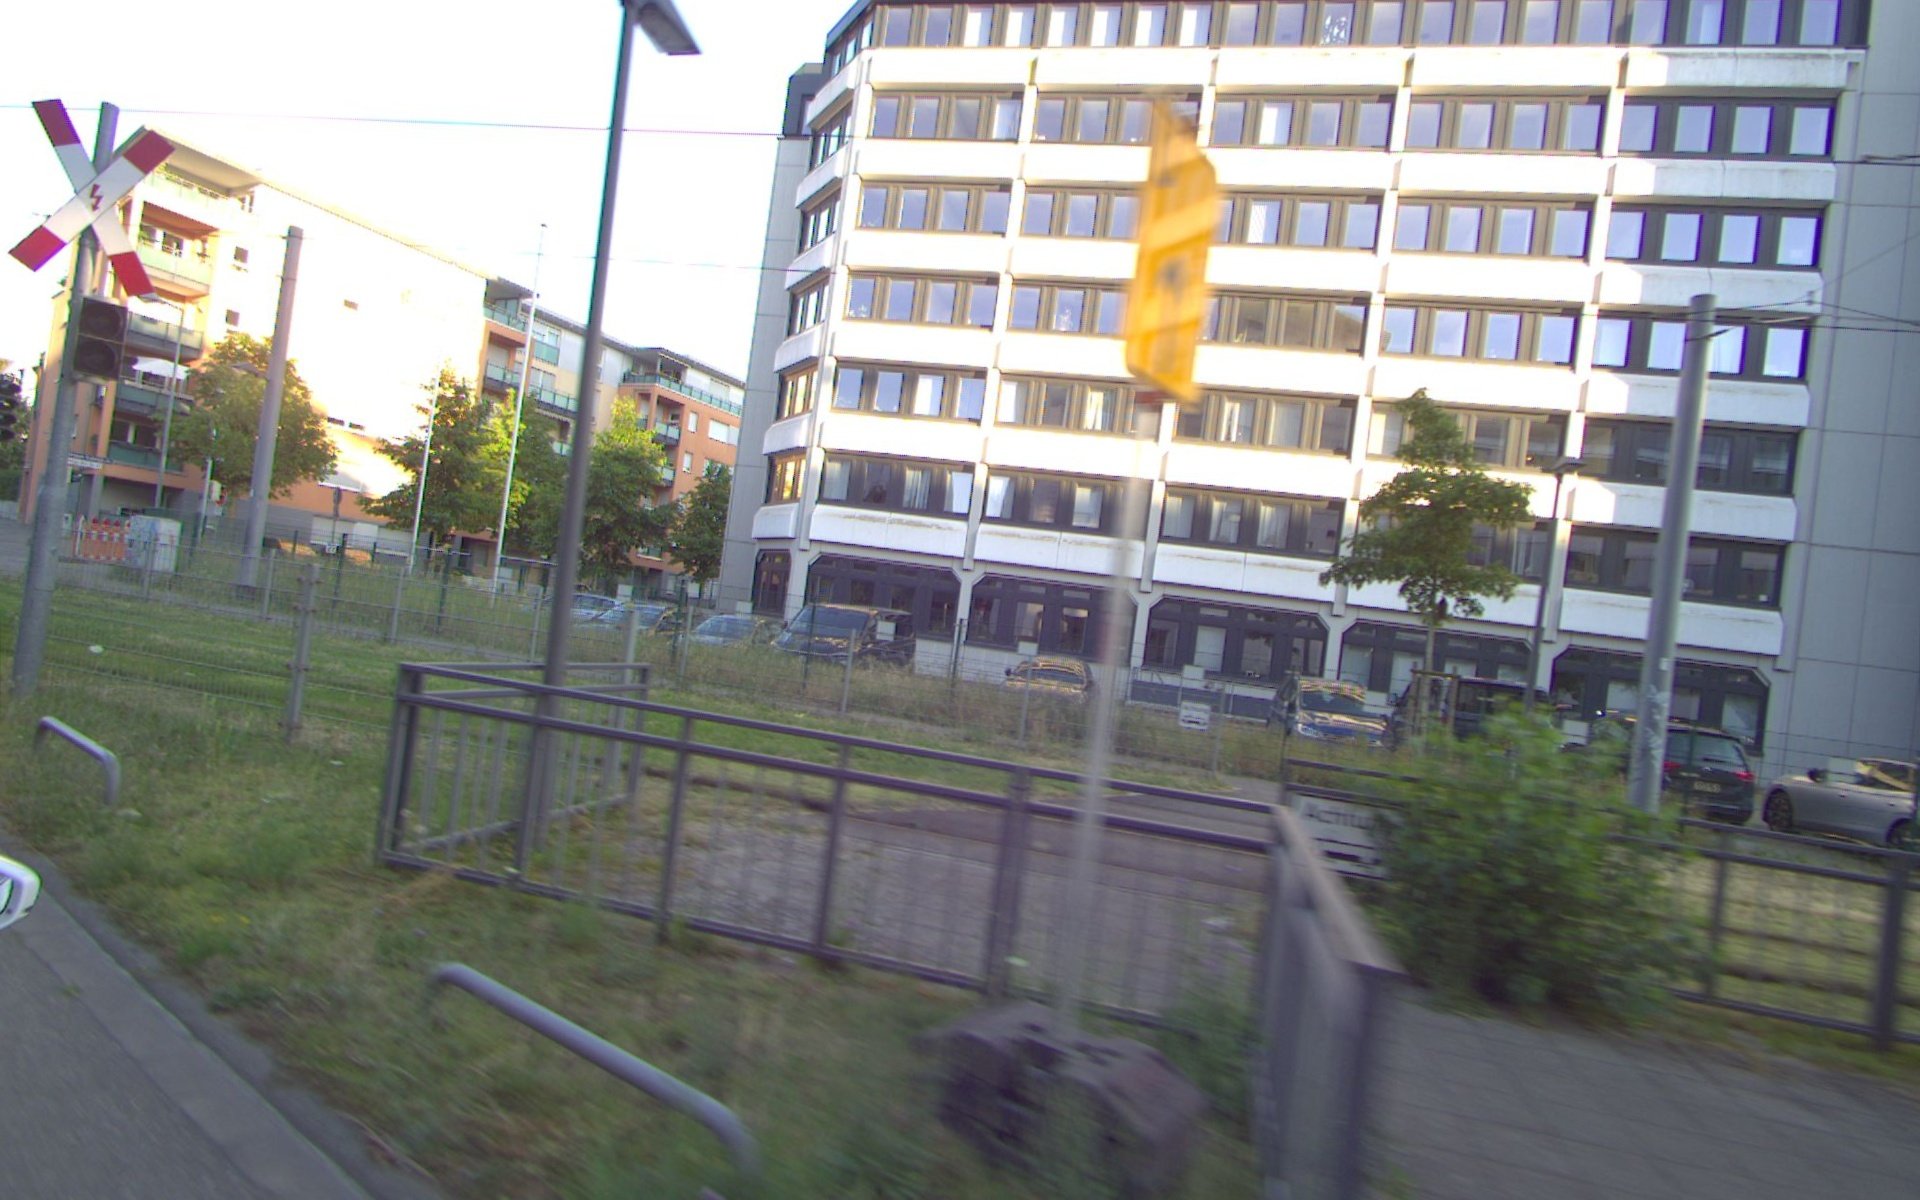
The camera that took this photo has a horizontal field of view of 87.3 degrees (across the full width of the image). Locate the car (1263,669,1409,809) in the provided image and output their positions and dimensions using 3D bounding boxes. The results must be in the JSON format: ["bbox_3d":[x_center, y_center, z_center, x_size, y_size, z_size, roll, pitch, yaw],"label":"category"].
[{"bbox_3d":[6.888,2.463,18.848,1.962,2.036,4.005,7,-2,15],"label":"car"}]

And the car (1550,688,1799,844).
[{"bbox_3d":[12.085,2.698,17.414,1.962,2.036,4.280,7,-2,15],"label":"car"}]

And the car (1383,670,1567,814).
[{"bbox_3d":[9.105,2.422,18.176,1.962,2.036,4.005,7,-2,15],"label":"car"}]

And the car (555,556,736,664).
[{"bbox_3d":[-7.294,0.323,23.810,1.962,2.036,4.004,7,-2,17],"label":"car"}]

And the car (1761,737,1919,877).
[{"bbox_3d":[13.983,3.066,14.716,1.783,1.611,4.412,7,-2,15],"label":"car"}]

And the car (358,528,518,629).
[{"bbox_3d":[-13.284,-0.563,25.526,3.941,2.037,1.994,6,-2,39],"label":"car"}]

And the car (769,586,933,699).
[{"bbox_3d":[-2.284,1.001,22.287,1.962,2.036,4.004,7,-2,17],"label":"car"}]

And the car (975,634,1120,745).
[{"bbox_3d":[1.902,1.786,20.478,1.962,1.770,4.004,7,-2,17],"label":"car"}]

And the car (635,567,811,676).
[{"bbox_3d":[-5.299,0.571,23.089,1.962,2.036,4.004,7,-2,17],"label":"car"}]

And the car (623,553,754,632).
[{"bbox_3d":[-8.881,-0.258,32.813,3.941,2.037,1.994,6,-2,39],"label":"car"}]
